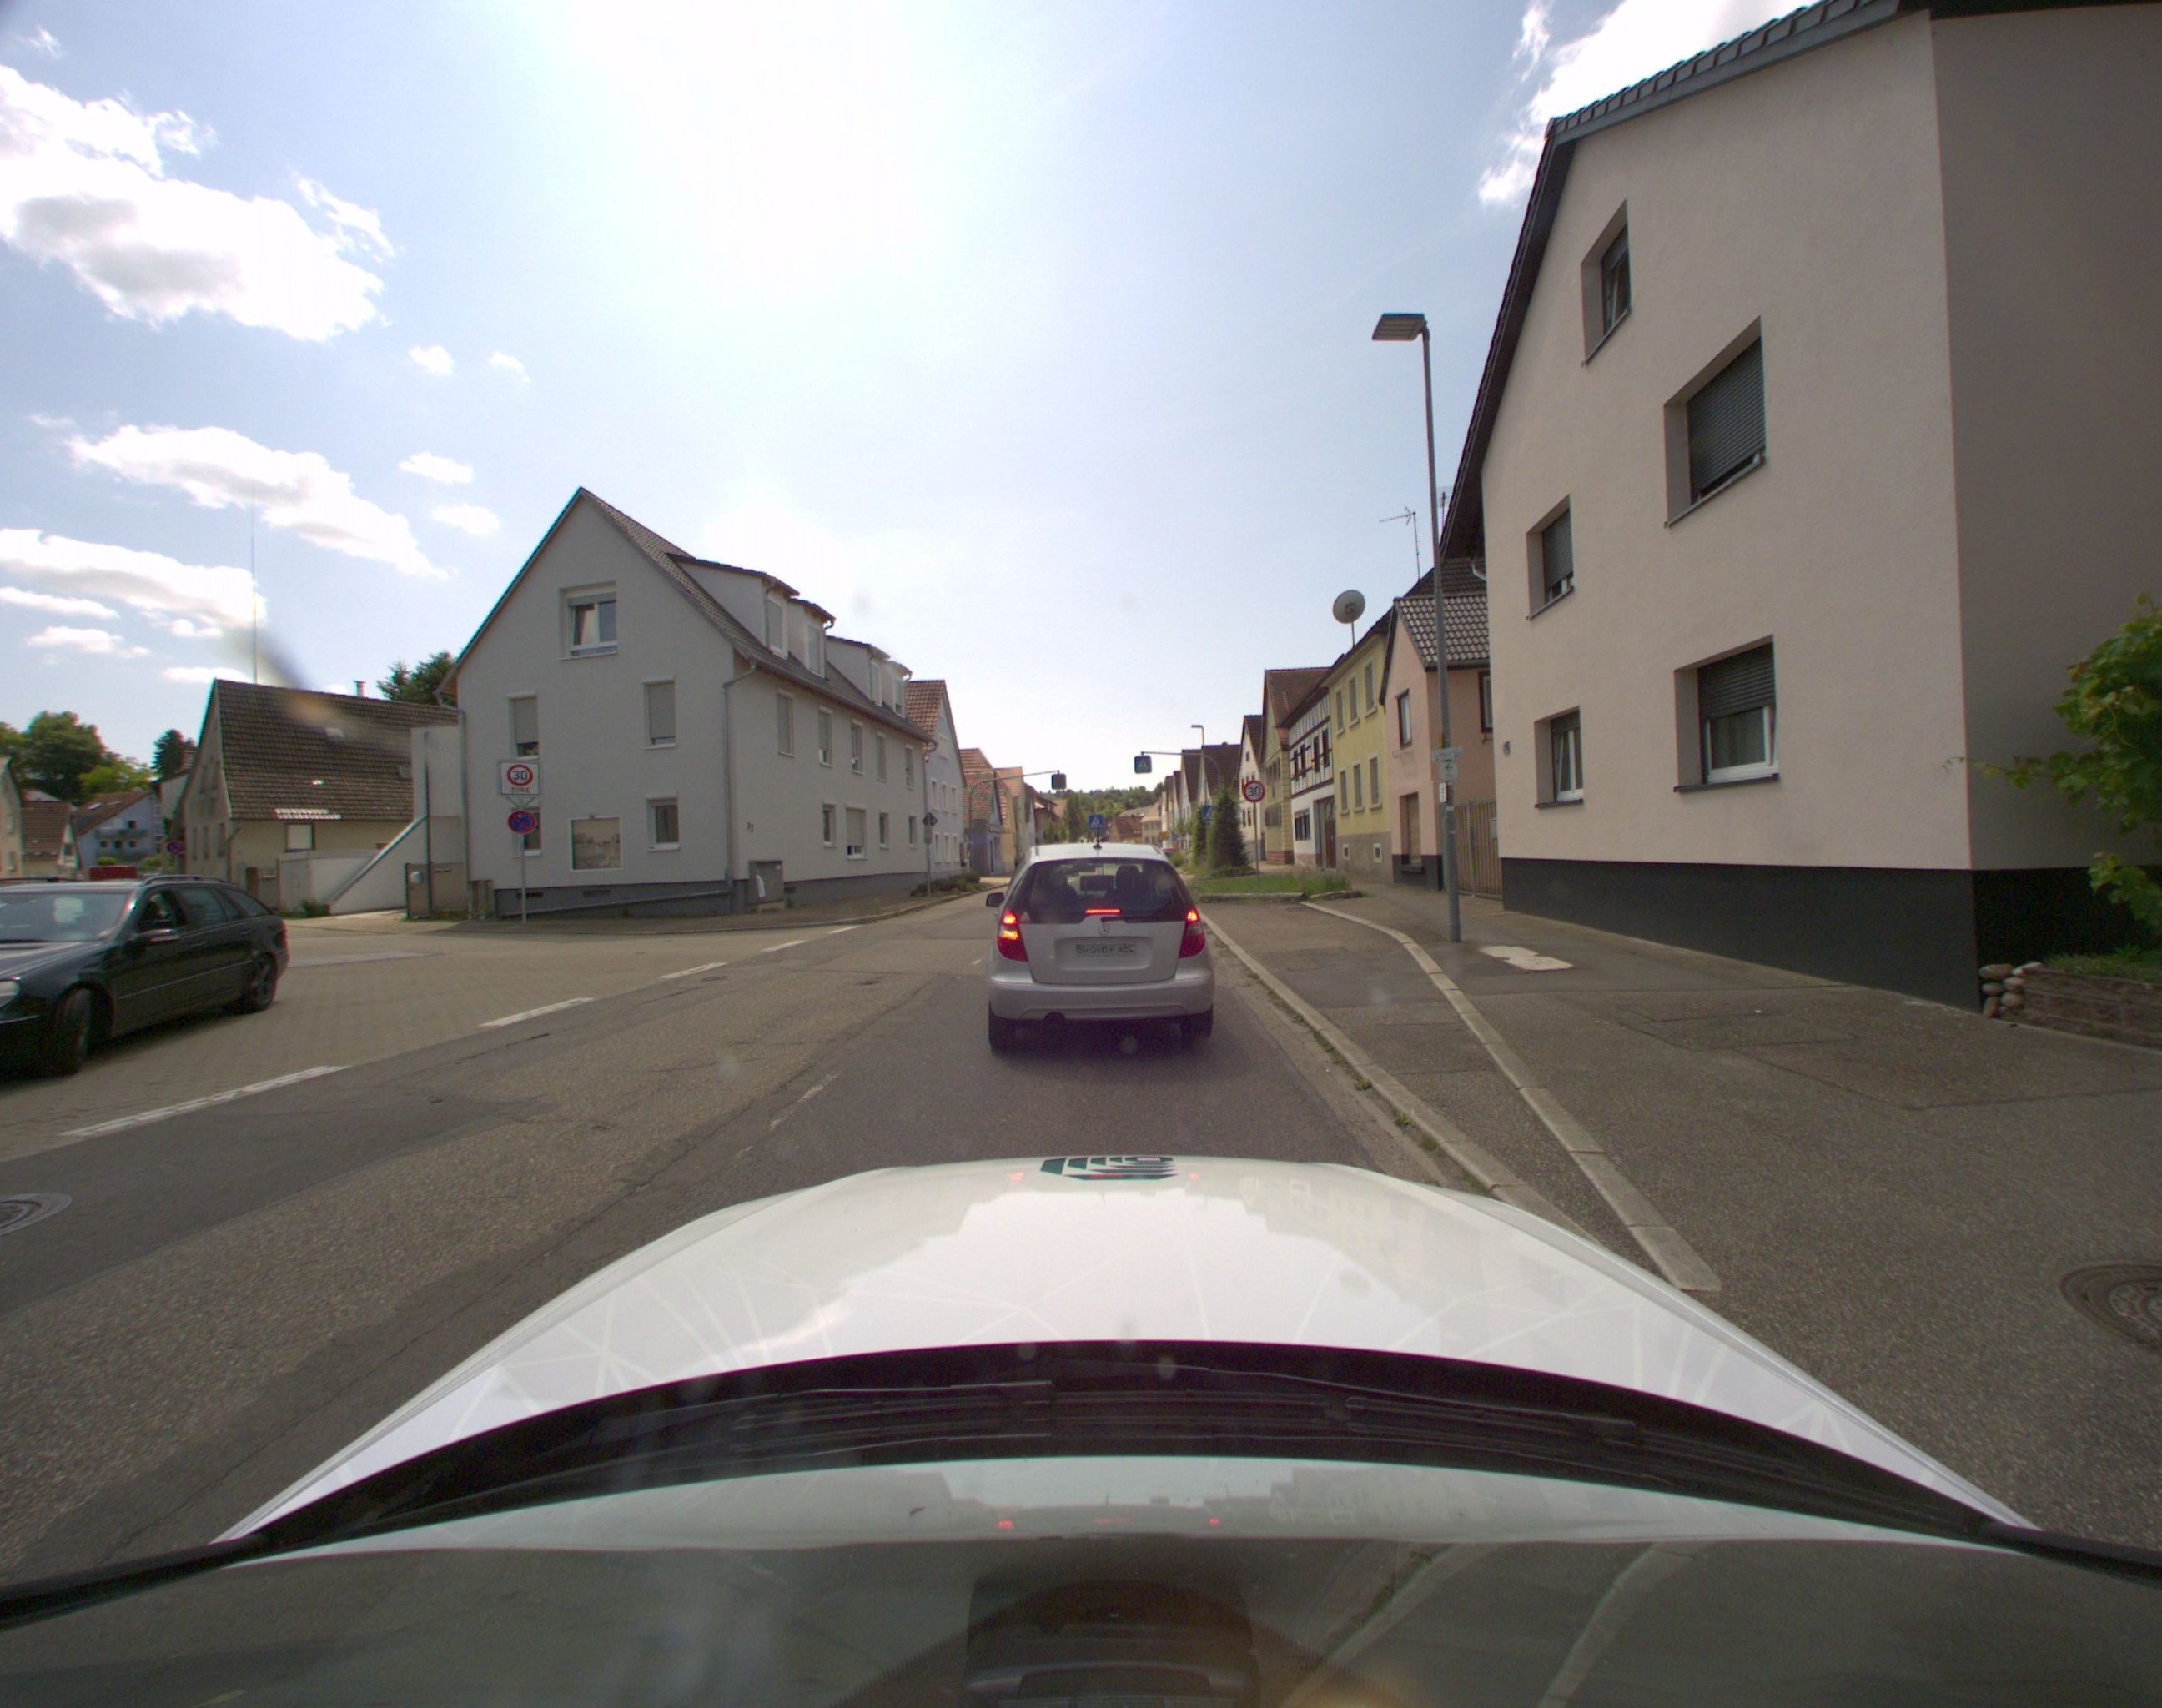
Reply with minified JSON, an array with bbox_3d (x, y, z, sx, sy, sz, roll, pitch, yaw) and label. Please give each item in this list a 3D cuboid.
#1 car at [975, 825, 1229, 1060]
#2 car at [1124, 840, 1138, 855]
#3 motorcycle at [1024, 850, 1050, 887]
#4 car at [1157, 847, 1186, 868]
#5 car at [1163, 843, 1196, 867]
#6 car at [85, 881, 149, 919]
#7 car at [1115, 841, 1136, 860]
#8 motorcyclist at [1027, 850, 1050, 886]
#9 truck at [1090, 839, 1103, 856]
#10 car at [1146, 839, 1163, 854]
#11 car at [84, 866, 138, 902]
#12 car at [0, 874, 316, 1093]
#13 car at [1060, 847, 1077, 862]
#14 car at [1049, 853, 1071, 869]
[{"bbox_3d":[0.023,0.630,7.652,1.807,1.643,3.723,0,0,-4],"label":"car"},{"bbox_3d":[7.019,-0.872,114.618,1.986,2.014,4.002,-1,-2,2],"label":"car"},{"bbox_3d":[-1.926,0.627,35.925,0.877,1.561,1.969,-1,0,2],"label":"motorcycle"},{"bbox_3d":[6.933,0.285,62.790,1.985,1.508,4.002,-1,-2,2],"label":"car"},{"bbox_3d":[6.733,0.099,56.033,1.985,1.508,4.002,-1,-2,2],"label":"car"},{"bbox_3d":[-42.011,1.988,35.480,3.431,1.530,1.500,-3,-2,36],"label":"car"},{"bbox_3d":[4.608,-0.327,85.127,1.986,1.816,4.001,-1,-2,1],"label":"car"},{"bbox_3d":[-1.899,0.604,36.279,0.892,1.554,0.807,-1,0,3],"label":"motorcyclist"},{"bbox_3d":[2.633,-1.037,135.194,1.986,2.537,6.741,-1,-2,2],"label":"truck"},{"bbox_3d":[9.542,-0.934,106.336,1.986,1.816,4.001,-1,-2,1],"label":"car"},{"bbox_3d":[-46.308,1.429,38.869,3.431,1.635,1.406,-3,-2,36],"label":"car"},{"bbox_3d":[-8.681,0.927,6.984,1.818,1.412,4.595,-1,-2,-27],"label":"car"},{"bbox_3d":[-1.354,0.060,92.475,1.660,1.596,4.002,-1,-2,3],"label":"car"},{"bbox_3d":[-1.931,0.652,74.074,1.989,1.321,3.704,-1,-2,-3],"label":"car"}]
